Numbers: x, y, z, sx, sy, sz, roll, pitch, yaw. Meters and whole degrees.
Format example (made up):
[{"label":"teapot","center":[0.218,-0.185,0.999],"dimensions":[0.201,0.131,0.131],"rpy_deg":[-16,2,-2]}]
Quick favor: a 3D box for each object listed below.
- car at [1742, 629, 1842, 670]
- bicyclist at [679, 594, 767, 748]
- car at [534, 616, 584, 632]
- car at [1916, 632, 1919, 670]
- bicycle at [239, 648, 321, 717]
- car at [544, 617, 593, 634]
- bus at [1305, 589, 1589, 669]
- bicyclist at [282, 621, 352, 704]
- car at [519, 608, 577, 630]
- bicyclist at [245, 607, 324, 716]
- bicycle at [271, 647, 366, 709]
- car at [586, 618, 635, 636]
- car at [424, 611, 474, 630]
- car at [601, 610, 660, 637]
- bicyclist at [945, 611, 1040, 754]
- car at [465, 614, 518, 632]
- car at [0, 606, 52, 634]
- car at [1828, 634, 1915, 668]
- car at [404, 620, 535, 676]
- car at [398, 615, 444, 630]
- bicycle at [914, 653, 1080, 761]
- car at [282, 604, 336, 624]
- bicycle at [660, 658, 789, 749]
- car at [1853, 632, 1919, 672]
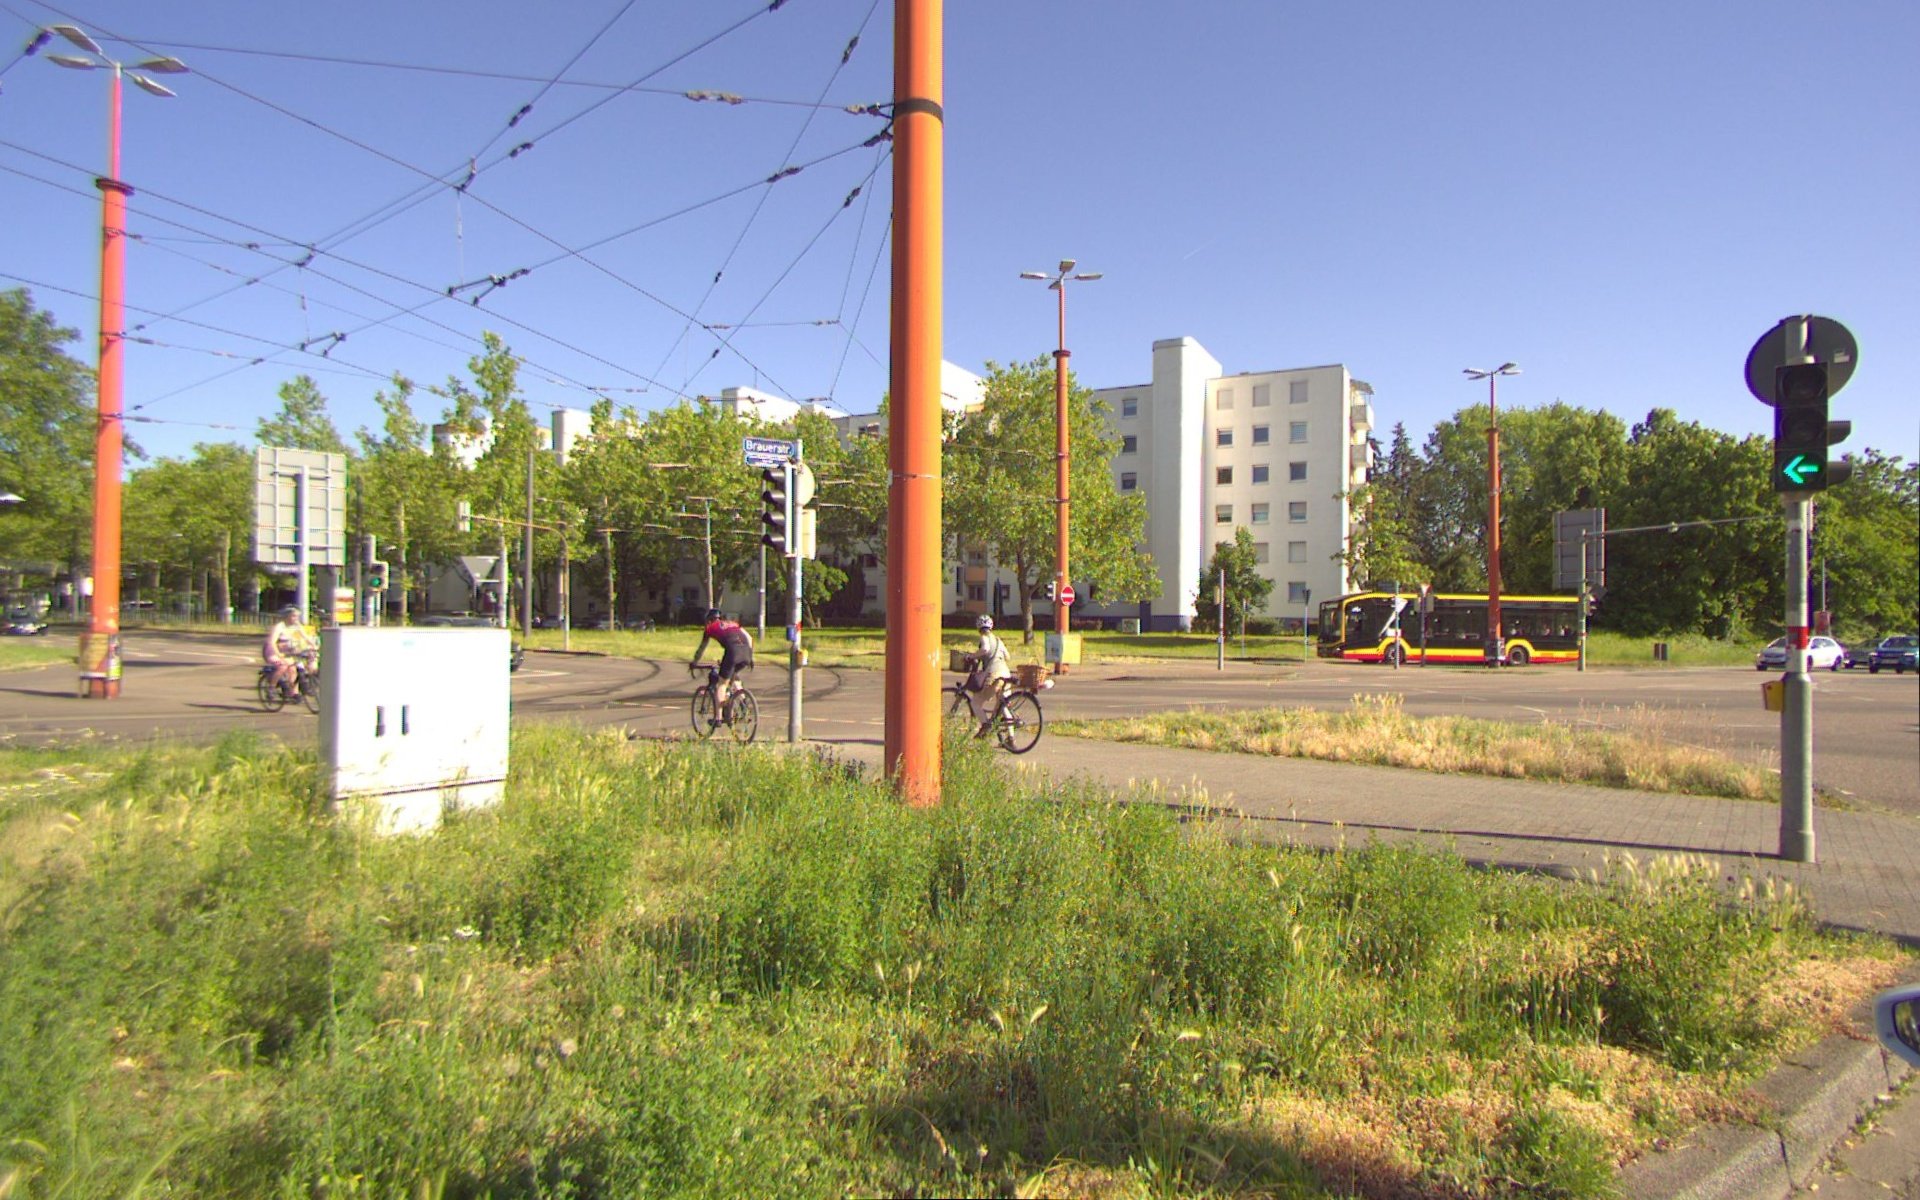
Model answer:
[{"label":"car","center":[35.369,2.117,42.683],"dimensions":[4.168,1.673,1.869],"rpy_deg":[2,-3,-29]},{"label":"bicyclist","center":[-3.112,0.911,13.184],"dimensions":[0.977,1.938,0.683],"rpy_deg":[-2,-2,41]},{"label":"car","center":[-30.895,1.853,77.433],"dimensions":[3.346,1.162,1.305],"rpy_deg":[2,0,-13]},{"label":"car","center":[42.610,2.176,42.712],"dimensions":[3.955,1.575,1.891],"rpy_deg":[2,-2,-32]},{"label":"bicycle","center":[-12.339,1.472,18.217],"dimensions":[1.884,1.086,0.578],"rpy_deg":[2,0,35]},{"label":"car","center":[-29.327,1.886,75.336],"dimensions":[3.219,1.172,1.357],"rpy_deg":[2,0,-12]},{"label":"bus","center":[22.741,1.328,47.129],"dimensions":[12.297,3.304,2.653],"rpy_deg":[2,0,-5]},{"label":"bicyclist","center":[-12.616,1.206,19.715],"dimensions":[0.906,1.545,0.720],"rpy_deg":[2,0,20]},{"label":"car","center":[-32.547,1.502,79.429],"dimensions":[3.868,1.614,1.656],"rpy_deg":[2,0,-8]},{"label":"bicyclist","center":[-12.293,1.086,18.272],"dimensions":[0.908,1.892,0.890],"rpy_deg":[2,0,35]},{"label":"bicycle","center":[-12.629,1.516,19.766],"dimensions":[1.878,1.086,0.579],"rpy_deg":[2,0,22]},{"label":"car","center":[-25.830,1.992,74.309],"dimensions":[3.279,1.149,1.321],"rpy_deg":[2,0,-11]},{"label":"car","center":[-43.258,1.757,85.096],"dimensions":[3.592,1.480,1.608],"rpy_deg":[2,0,-19]},{"label":"car","center":[-23.665,1.699,72.293],"dimensions":[3.874,1.841,1.651],"rpy_deg":[2,0,-13]},{"label":"bicyclist","center":[0.397,0.966,12.147],"dimensions":[0.813,1.643,0.890],"rpy_deg":[-1,-1,32]},{"label":"car","center":[-38.839,1.914,83.385],"dimensions":[3.665,1.349,1.496],"rpy_deg":[2,0,-8]},{"label":"car","center":[-53.485,1.141,57.391],"dimensions":[3.940,1.516,1.909],"rpy_deg":[0,-2,40]},{"label":"car","center":[43.138,2.382,47.528],"dimensions":[3.952,1.533,1.877],"rpy_deg":[1,-2,-29]},{"label":"car","center":[-15.219,1.438,31.095],"dimensions":[3.977,1.516,1.913],"rpy_deg":[2,0,34]},{"label":"car","center":[-46.625,1.920,86.951],"dimensions":[3.370,1.204,1.439],"rpy_deg":[2,0,-23]},{"label":"bicycle","center":[0.435,1.248,12.145],"dimensions":[1.882,1.146,0.739],"rpy_deg":[0,-1,32]},{"label":"car","center":[-66.300,1.457,102.353],"dimensions":[4.274,2.010,1.932],"rpy_deg":[1,-1,-19]},{"label":"bicycle","center":[-3.108,1.316,13.162],"dimensions":[1.888,1.085,0.688],"rpy_deg":[-2,-2,42]},{"label":"car","center":[37.299,2.046,39.762],"dimensions":[3.813,1.535,1.793],"rpy_deg":[1,-3,-30]}]
